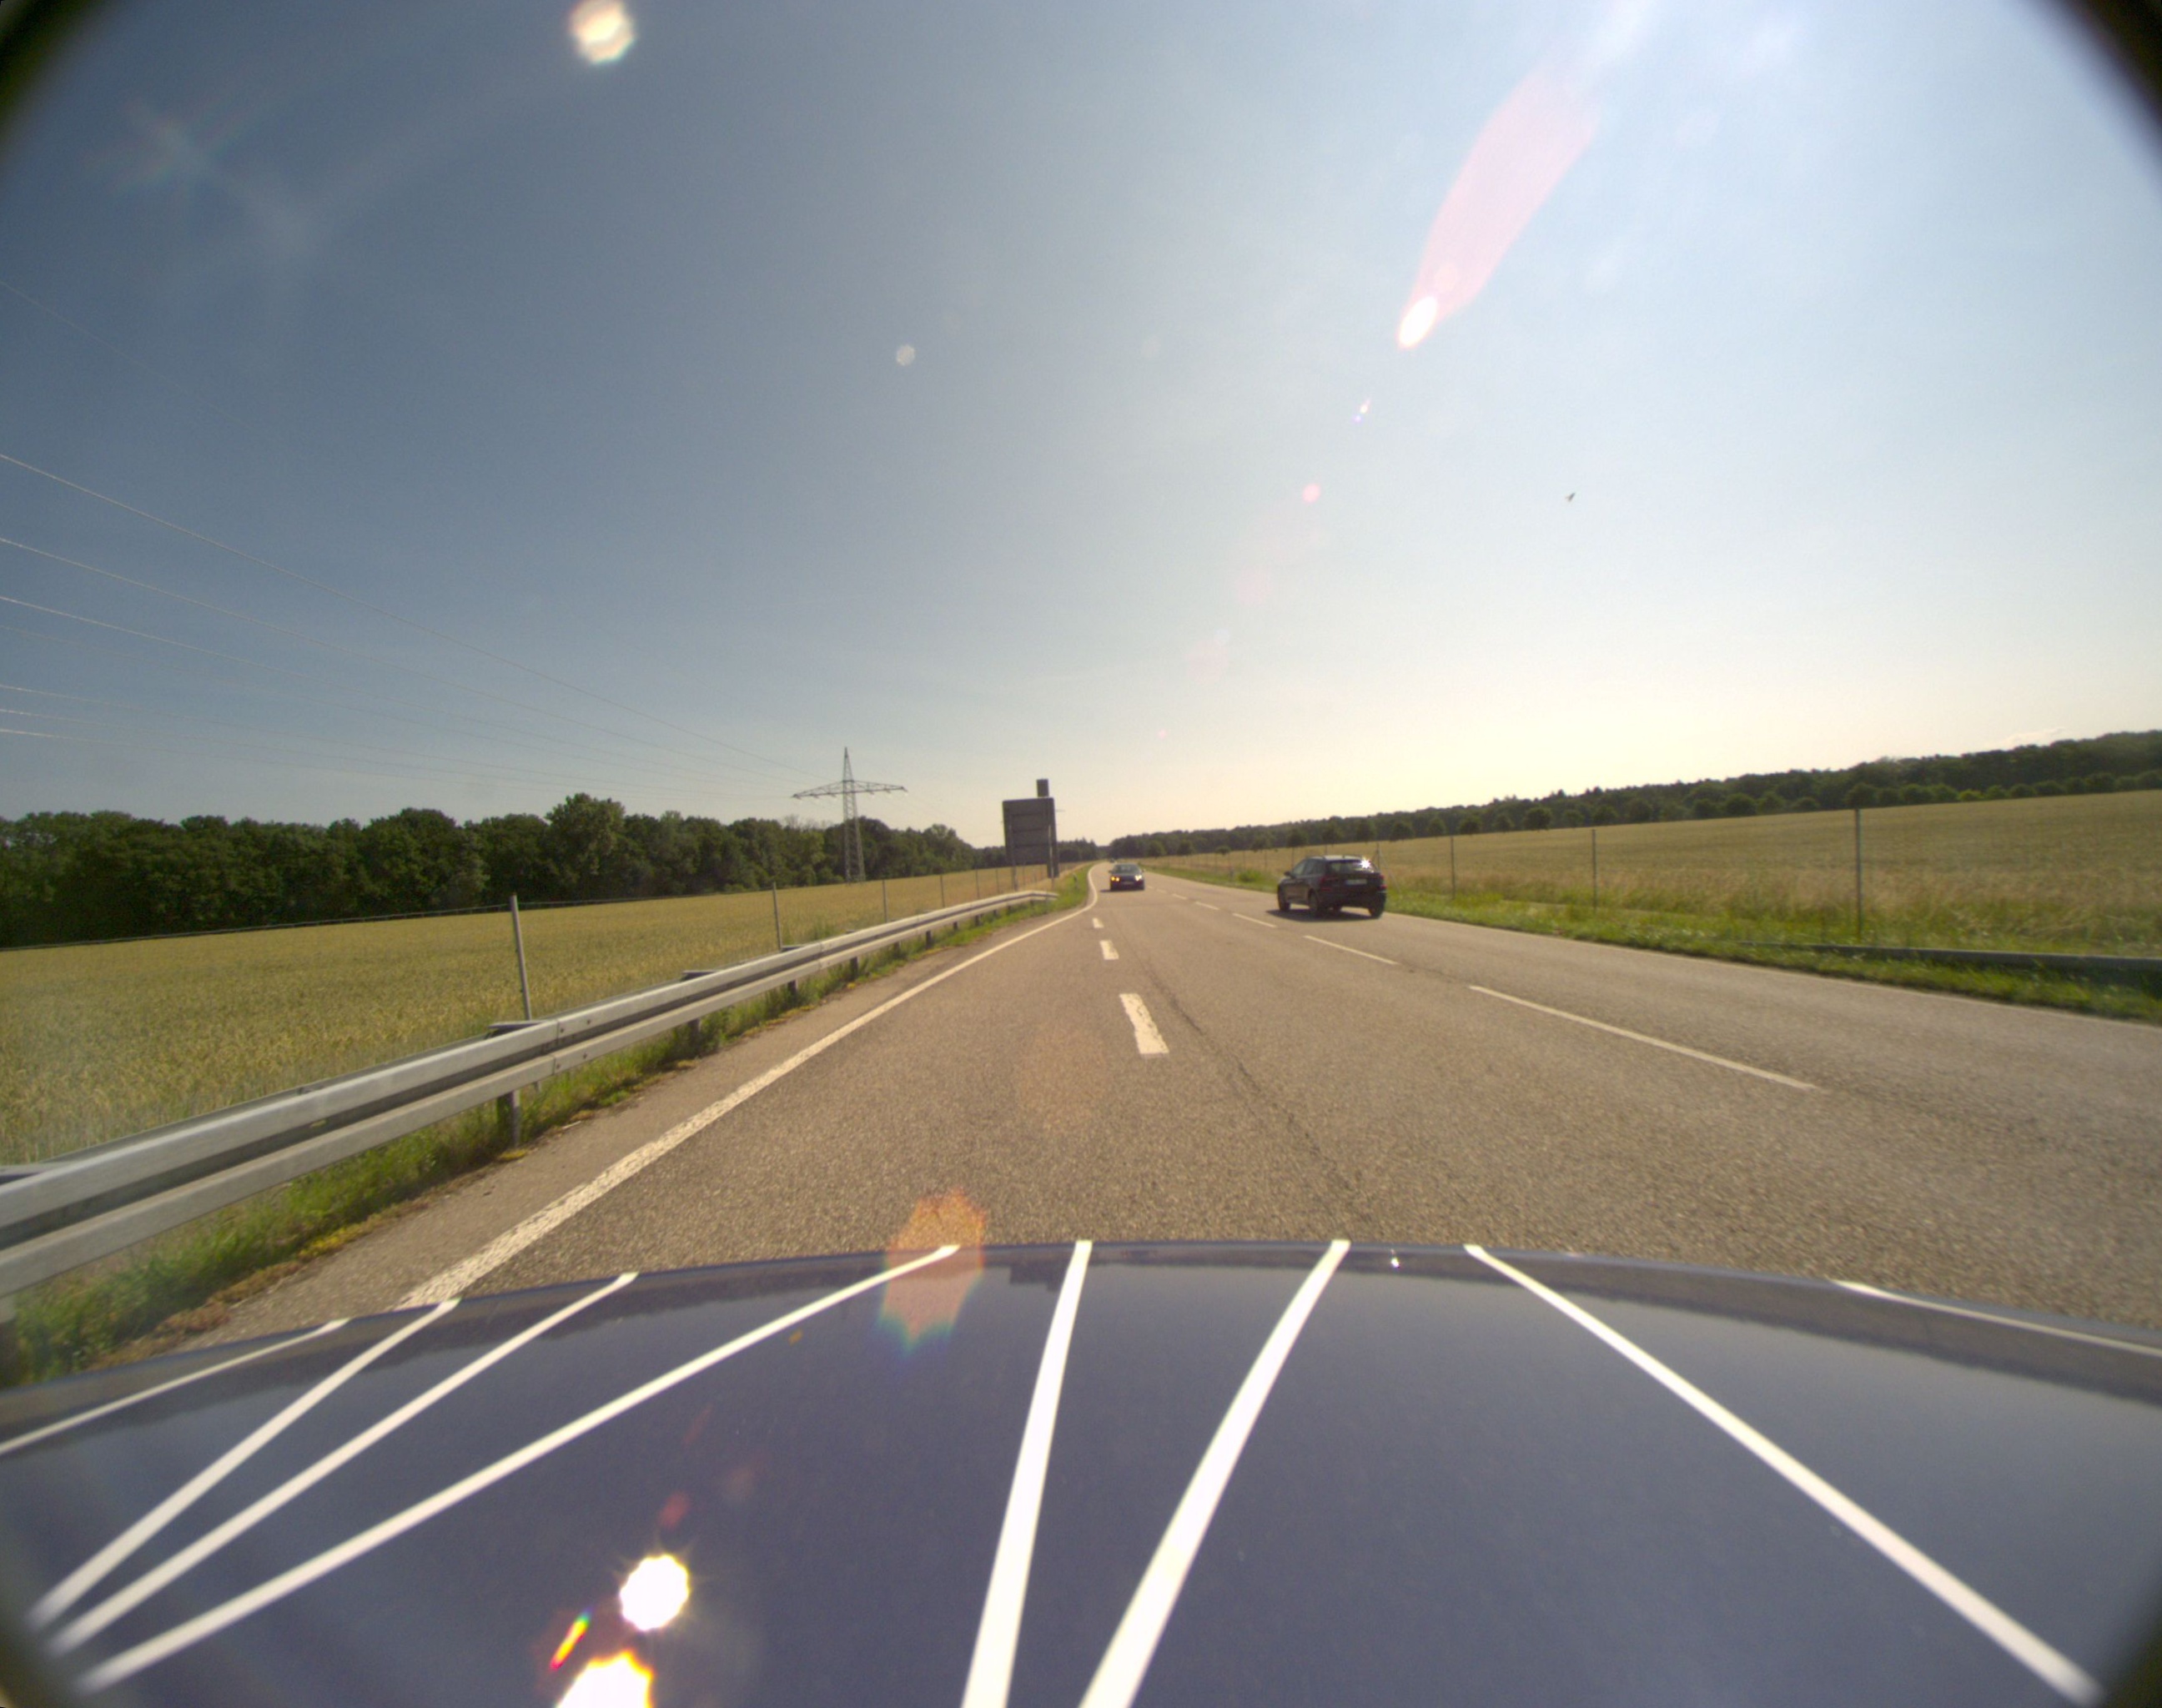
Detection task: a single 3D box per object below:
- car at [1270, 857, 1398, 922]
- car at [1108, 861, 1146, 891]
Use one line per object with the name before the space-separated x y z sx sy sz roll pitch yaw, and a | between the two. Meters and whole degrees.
car | 6.542 0.849 20.148 1.833 1.499 4.161 -2 0 -2
car | 2.384 1.127 39.797 1.886 1.448 4.076 -1 -1 3
